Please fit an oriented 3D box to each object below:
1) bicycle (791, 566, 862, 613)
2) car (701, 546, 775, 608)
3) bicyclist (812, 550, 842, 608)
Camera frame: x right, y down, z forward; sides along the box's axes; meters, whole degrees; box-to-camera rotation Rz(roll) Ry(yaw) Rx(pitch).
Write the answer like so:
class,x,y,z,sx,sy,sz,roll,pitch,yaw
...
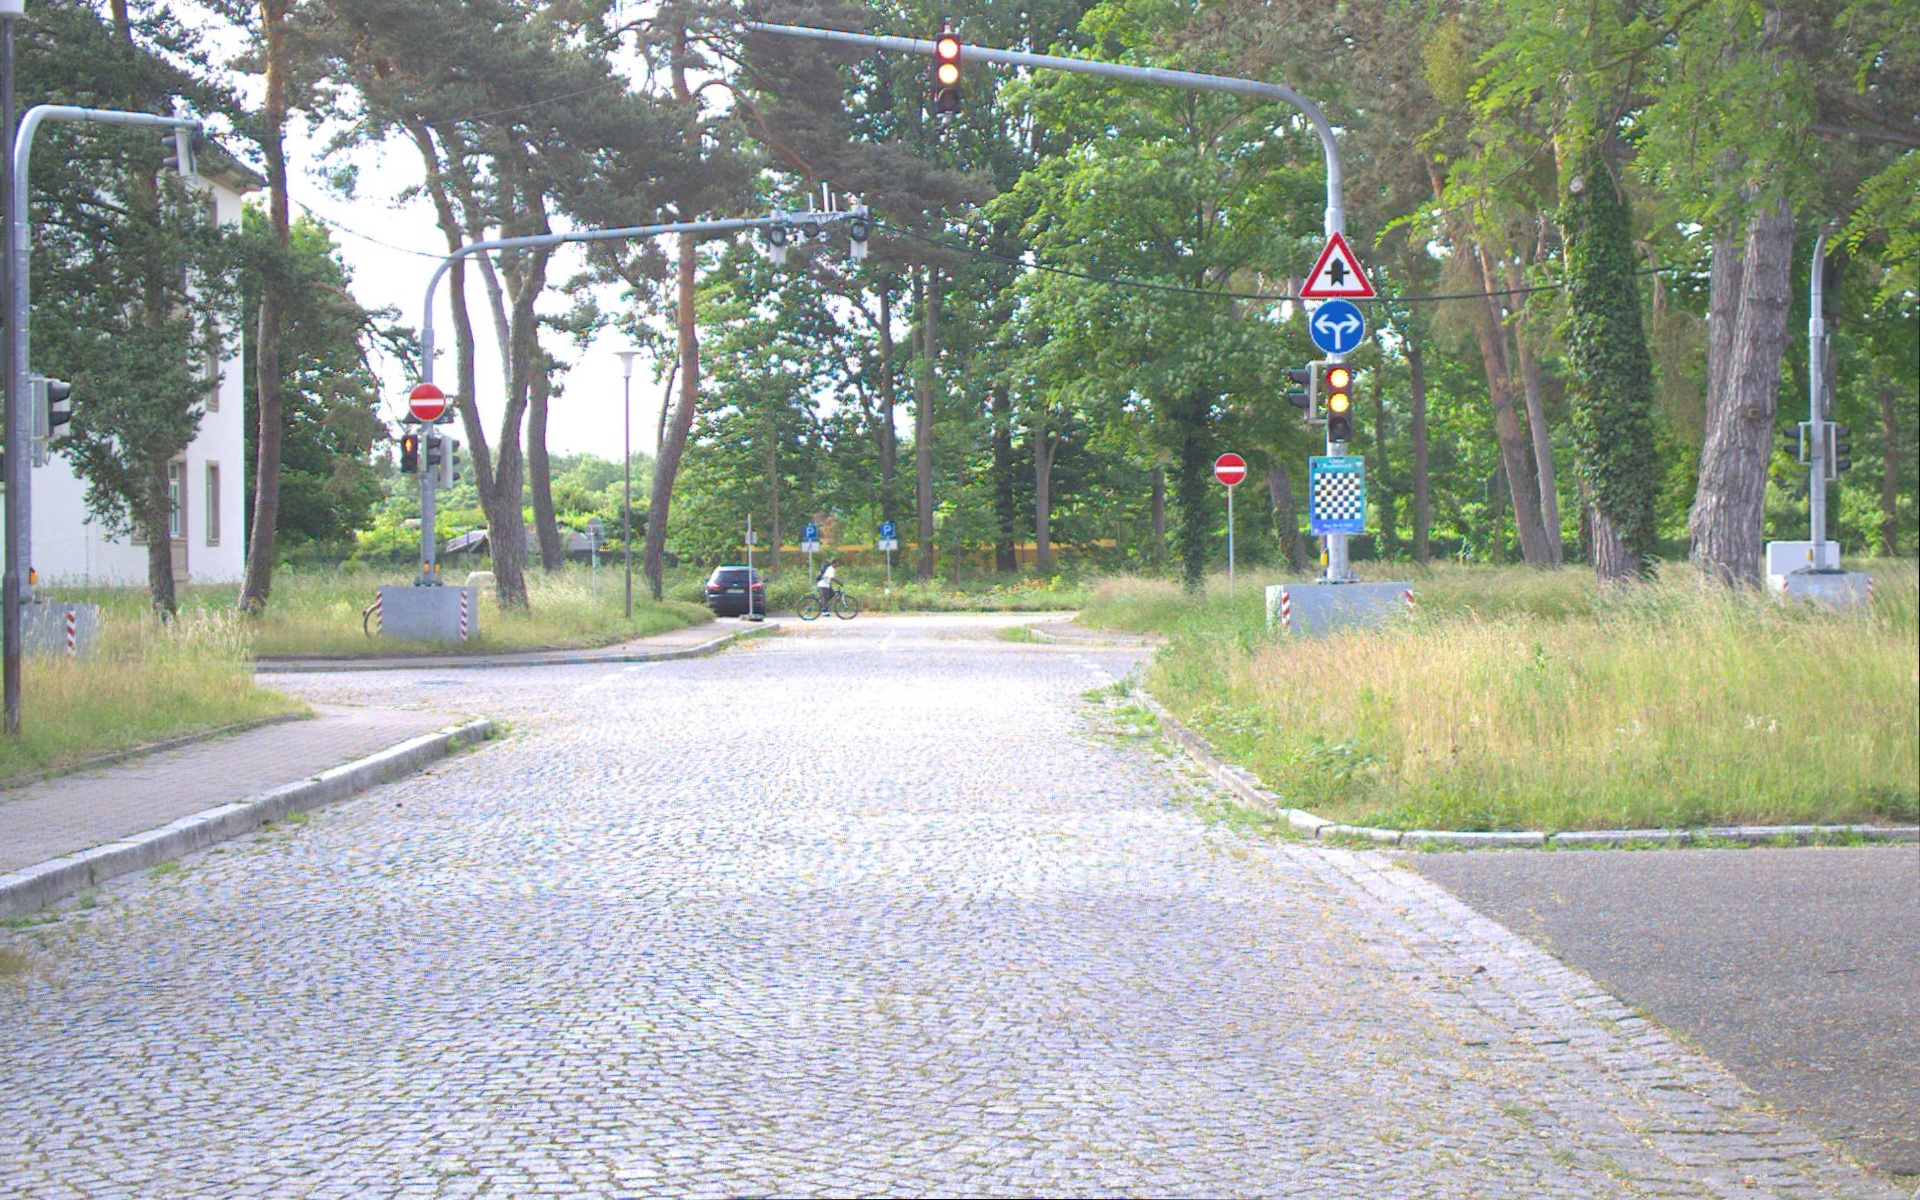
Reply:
class,x,y,z,sx,sy,sz,roll,pitch,yaw
bicycle,-3.825,-0.302,98.531,1.968,1.316,0.518,1,0,-11
car,-6.775,-0.722,105.313,2.056,1.840,4.000,-1,1,-1
bicyclist,-3.808,-0.603,98.526,0.748,1.665,0.526,1,0,-10
